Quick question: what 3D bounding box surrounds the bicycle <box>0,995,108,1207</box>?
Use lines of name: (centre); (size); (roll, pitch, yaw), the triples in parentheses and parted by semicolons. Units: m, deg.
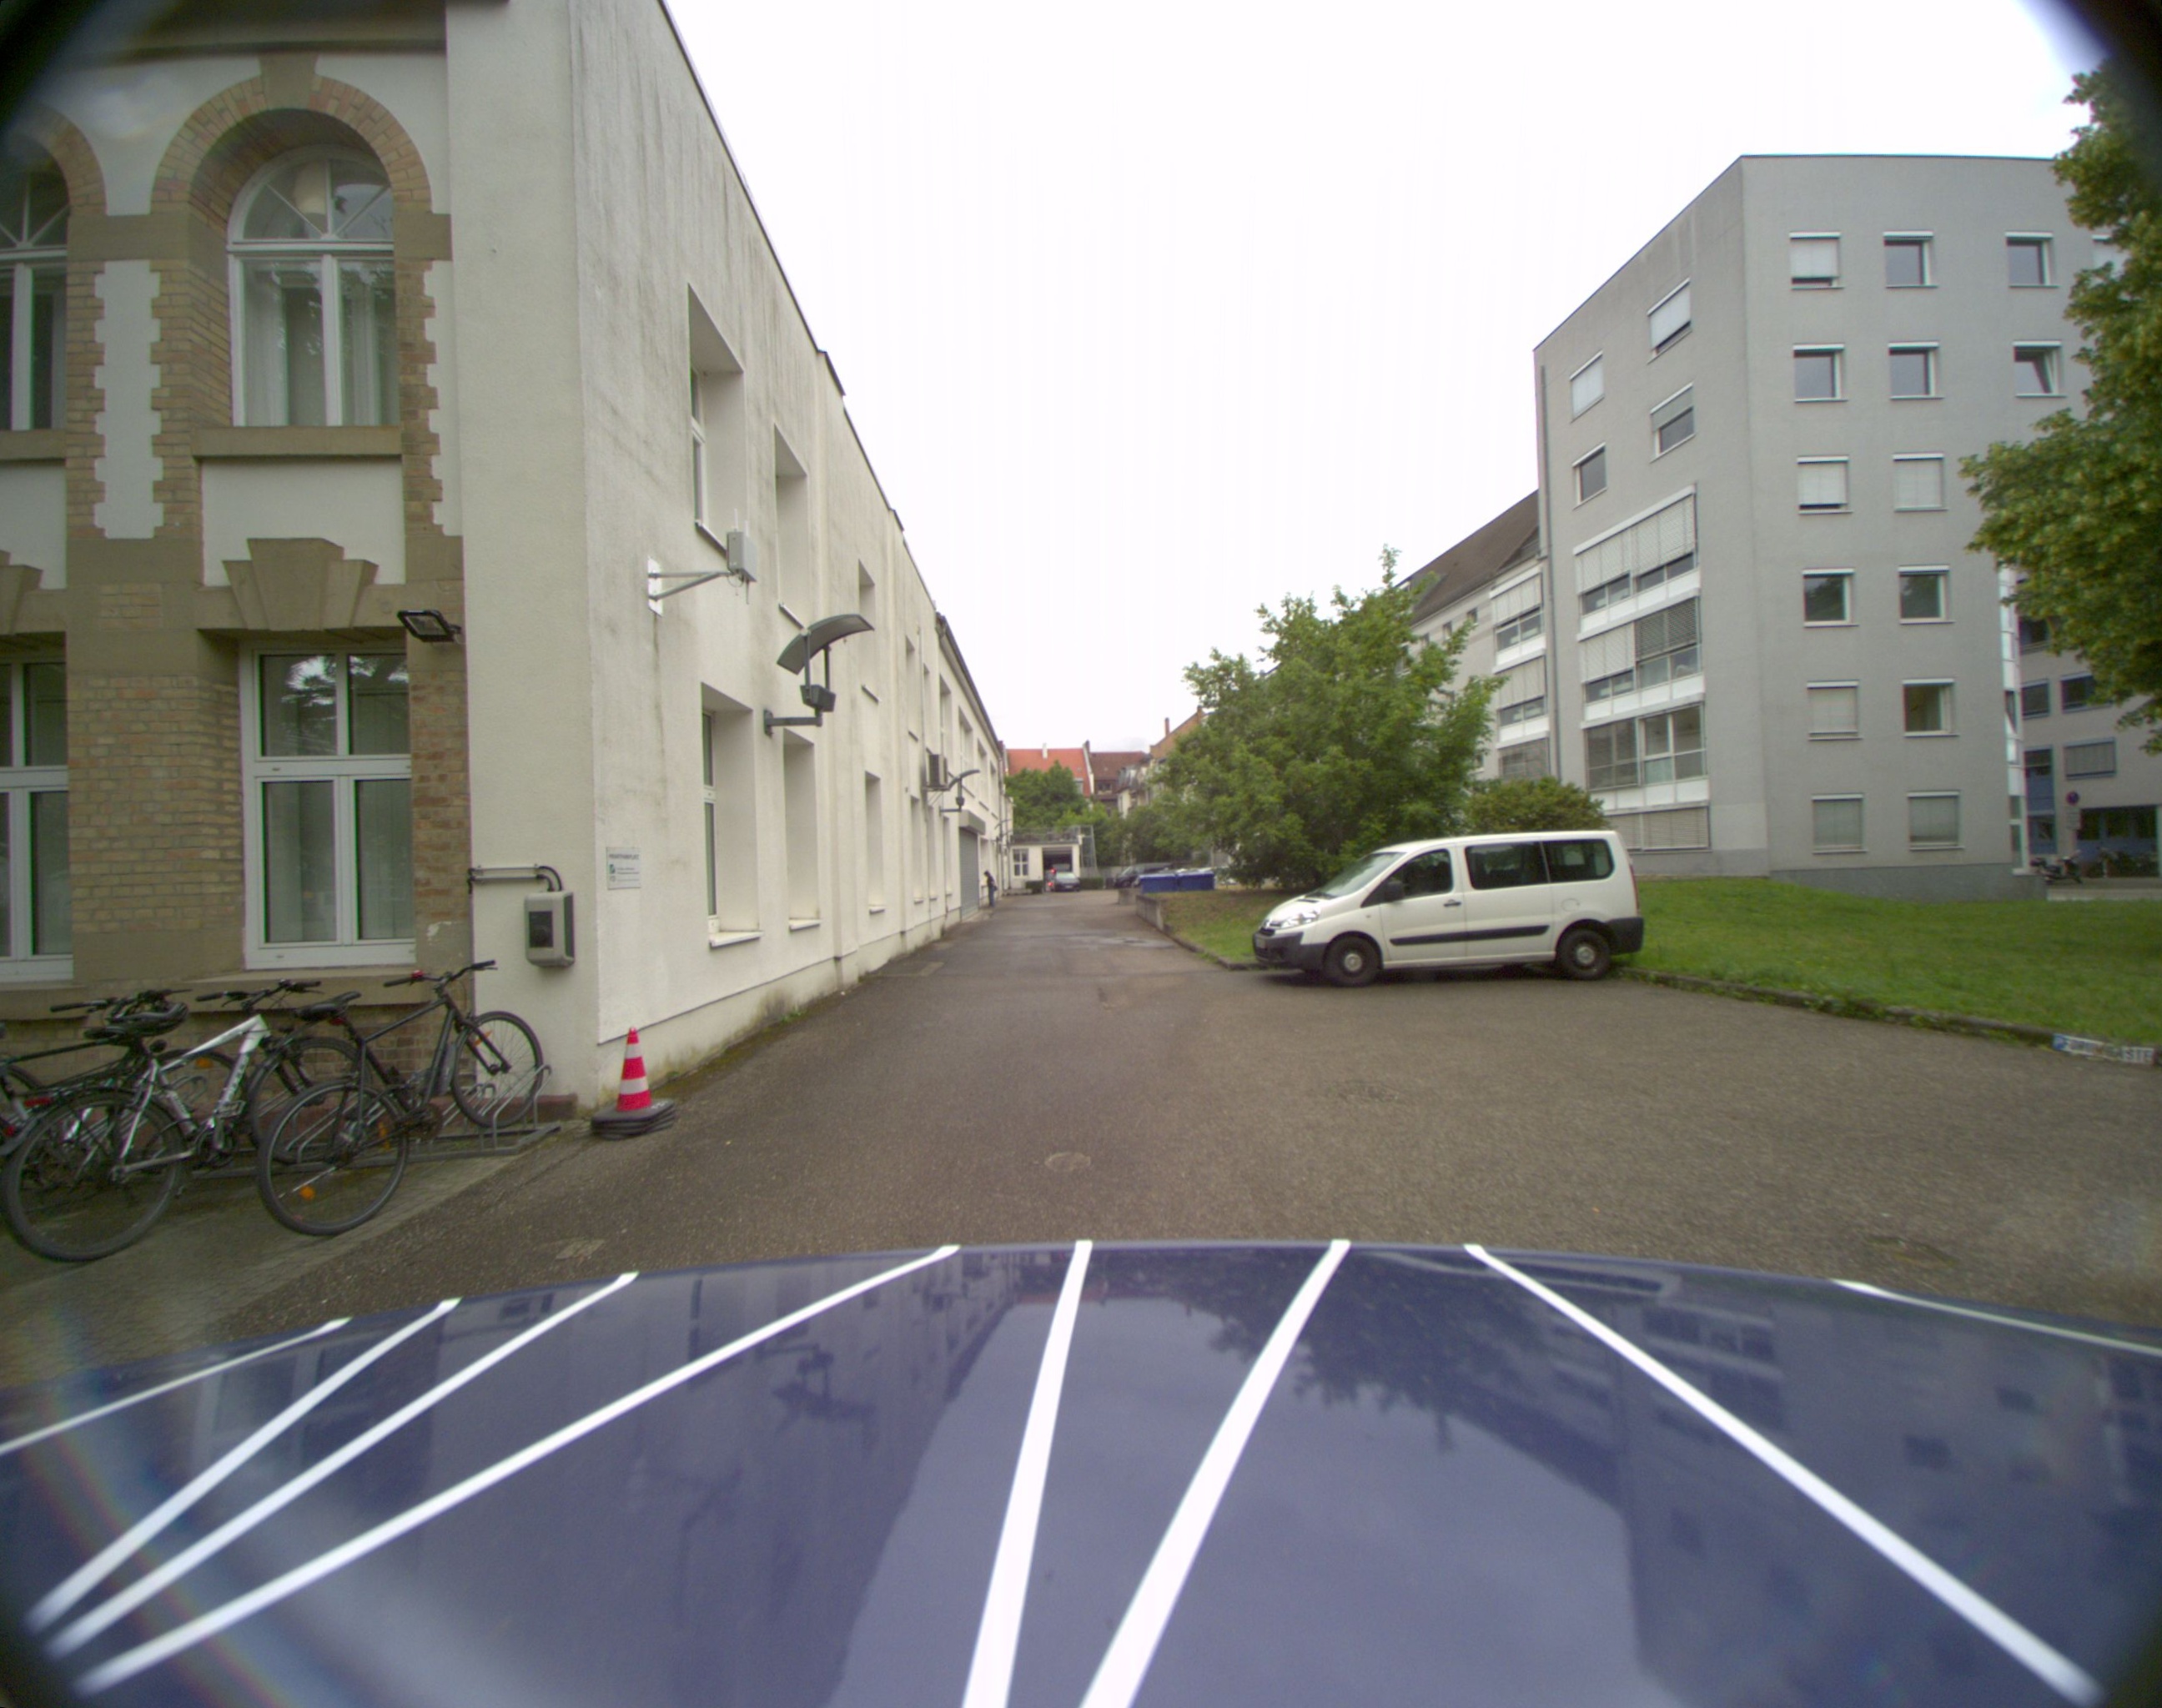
bicycle: (-6.341, 1.433, 3.869); (0.460, 1.108, 1.745); (-2, 0, 2)

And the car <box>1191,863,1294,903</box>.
car: (7.664, 1.360, 36.299); (4.341, 1.724, 1.999); (-2, 0, -8)

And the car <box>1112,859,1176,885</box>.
car: (4.643, 1.336, 56.285); (4.341, 1.724, 1.999); (-2, 0, -8)

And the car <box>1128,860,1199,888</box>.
car: (5.461, 1.313, 50.689); (4.341, 1.724, 1.999); (-2, 0, -8)

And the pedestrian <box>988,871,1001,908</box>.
pedestrian: (-3.778, 1.544, 33.160); (0.499, 1.553, 0.429); (-2, 0, -6)

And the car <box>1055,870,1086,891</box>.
car: (-0.829, 1.914, 55.954); (1.920, 1.390, 3.998); (-2, 0, -5)

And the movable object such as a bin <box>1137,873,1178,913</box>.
movable object such as a bin: (2.601, 1.320, 25.909); (1.180, 1.299, 1.228); (-2, -1, -3)

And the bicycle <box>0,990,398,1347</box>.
bicycle: (-4.499, 1.401, 3.852); (0.460, 1.108, 1.745); (-2, 0, 0)

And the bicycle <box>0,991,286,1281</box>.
bicycle: (-5.176, 1.405, 3.836); (0.460, 1.108, 1.745); (-2, 0, 0)

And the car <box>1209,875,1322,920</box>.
car: (8.046, 1.883, 33.370); (4.341, 1.724, 1.999); (-2, 0, -8)

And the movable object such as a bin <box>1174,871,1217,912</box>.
movable object such as a bin: (3.894, 1.270, 26.050); (1.180, 1.299, 1.228); (-2, -1, -3)

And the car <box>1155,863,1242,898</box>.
car: (6.438, 1.432, 41.890); (4.341, 1.724, 1.999); (-2, 0, -8)

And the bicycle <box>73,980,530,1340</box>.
bicycle: (-3.653, 1.328, 3.816); (0.460, 1.108, 1.745); (-2, 0, 0)

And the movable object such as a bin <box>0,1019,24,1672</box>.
movable object such as a bin: (-2.814, 1.044, 0.922); (1.109, 1.441, 1.362); (-2, 0, -7)

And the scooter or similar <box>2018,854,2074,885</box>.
scooter or similar: (39.751, 0.625, 31.295); (2.521, 1.181, 0.795); (-2, 0, -23)

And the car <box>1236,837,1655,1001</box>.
car: (4.758, 0.854, 10.466); (4.770, 1.861, 1.902); (-2, -2, 0)
